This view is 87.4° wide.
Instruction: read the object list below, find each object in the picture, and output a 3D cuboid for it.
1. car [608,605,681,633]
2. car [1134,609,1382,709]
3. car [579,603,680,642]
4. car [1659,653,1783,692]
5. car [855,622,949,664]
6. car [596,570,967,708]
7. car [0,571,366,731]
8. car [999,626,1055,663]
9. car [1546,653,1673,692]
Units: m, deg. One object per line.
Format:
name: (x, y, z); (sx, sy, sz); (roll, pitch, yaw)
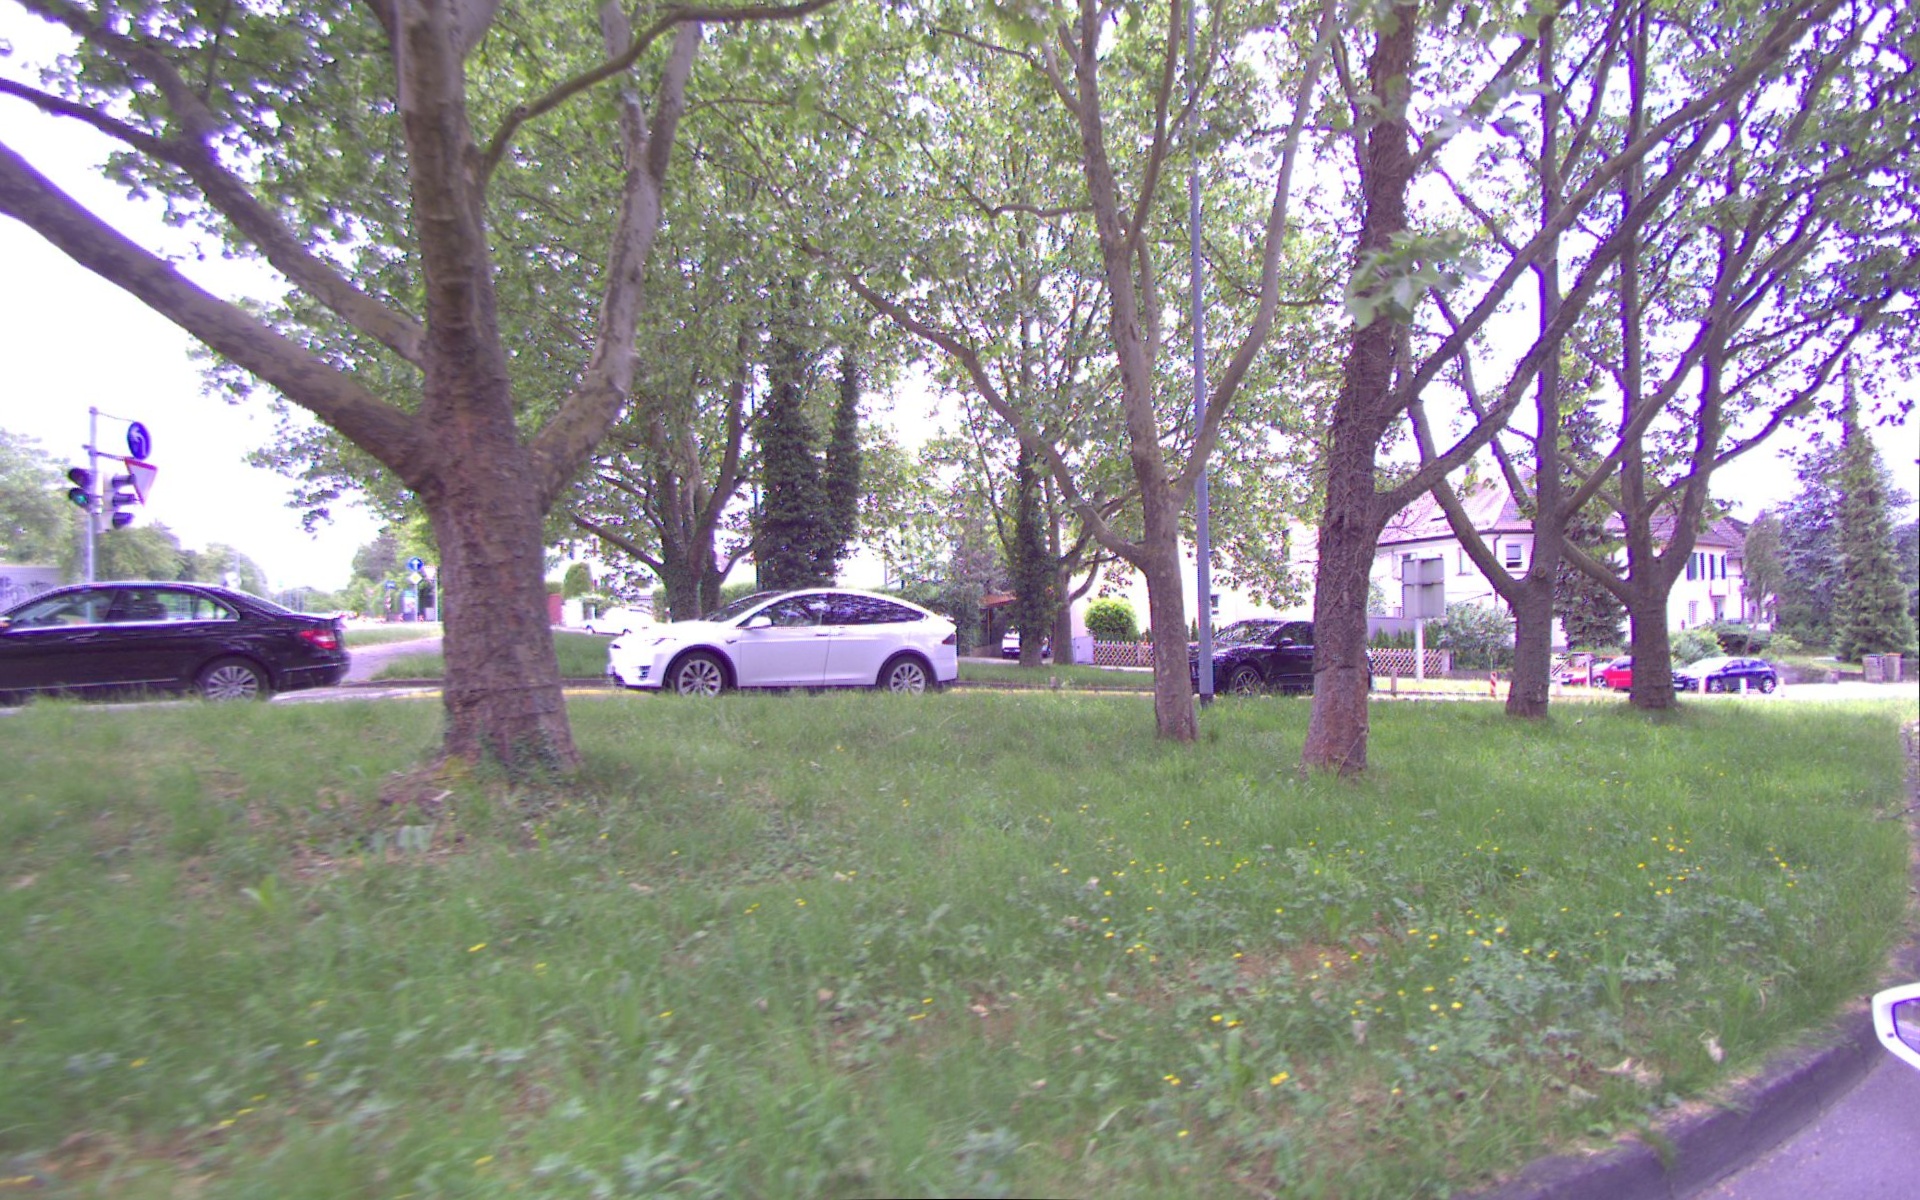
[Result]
car: (-18.341, 1.144, 58.512); (1.585, 1.537, 3.809); (0, -2, 38)
car: (5.578, 1.004, 18.666); (4.557, 1.612, 1.749); (-1, 0, -29)
car: (-16.553, 1.112, 50.278); (4.796, 1.815, 2.212); (-1, 0, 30)
car: (31.239, 2.964, 41.271); (4.240, 1.493, 1.729); (1, -2, -13)
car: (-2.542, 1.840, 44.045); (3.703, 1.576, 1.784); (2, 1, 16)
car: (-2.460, 0.461, 14.232); (4.846, 1.680, 1.843); (-1, 0, -29)
car: (-8.962, 0.519, 10.789); (4.334, 1.537, 1.749); (2, -1, -29)
car: (3.172, 2.061, 47.151); (1.838, 1.568, 3.380); (-2, 0, 17)
car: (26.360, 2.947, 40.818); (4.199, 1.493, 1.731); (1, -2, -7)
